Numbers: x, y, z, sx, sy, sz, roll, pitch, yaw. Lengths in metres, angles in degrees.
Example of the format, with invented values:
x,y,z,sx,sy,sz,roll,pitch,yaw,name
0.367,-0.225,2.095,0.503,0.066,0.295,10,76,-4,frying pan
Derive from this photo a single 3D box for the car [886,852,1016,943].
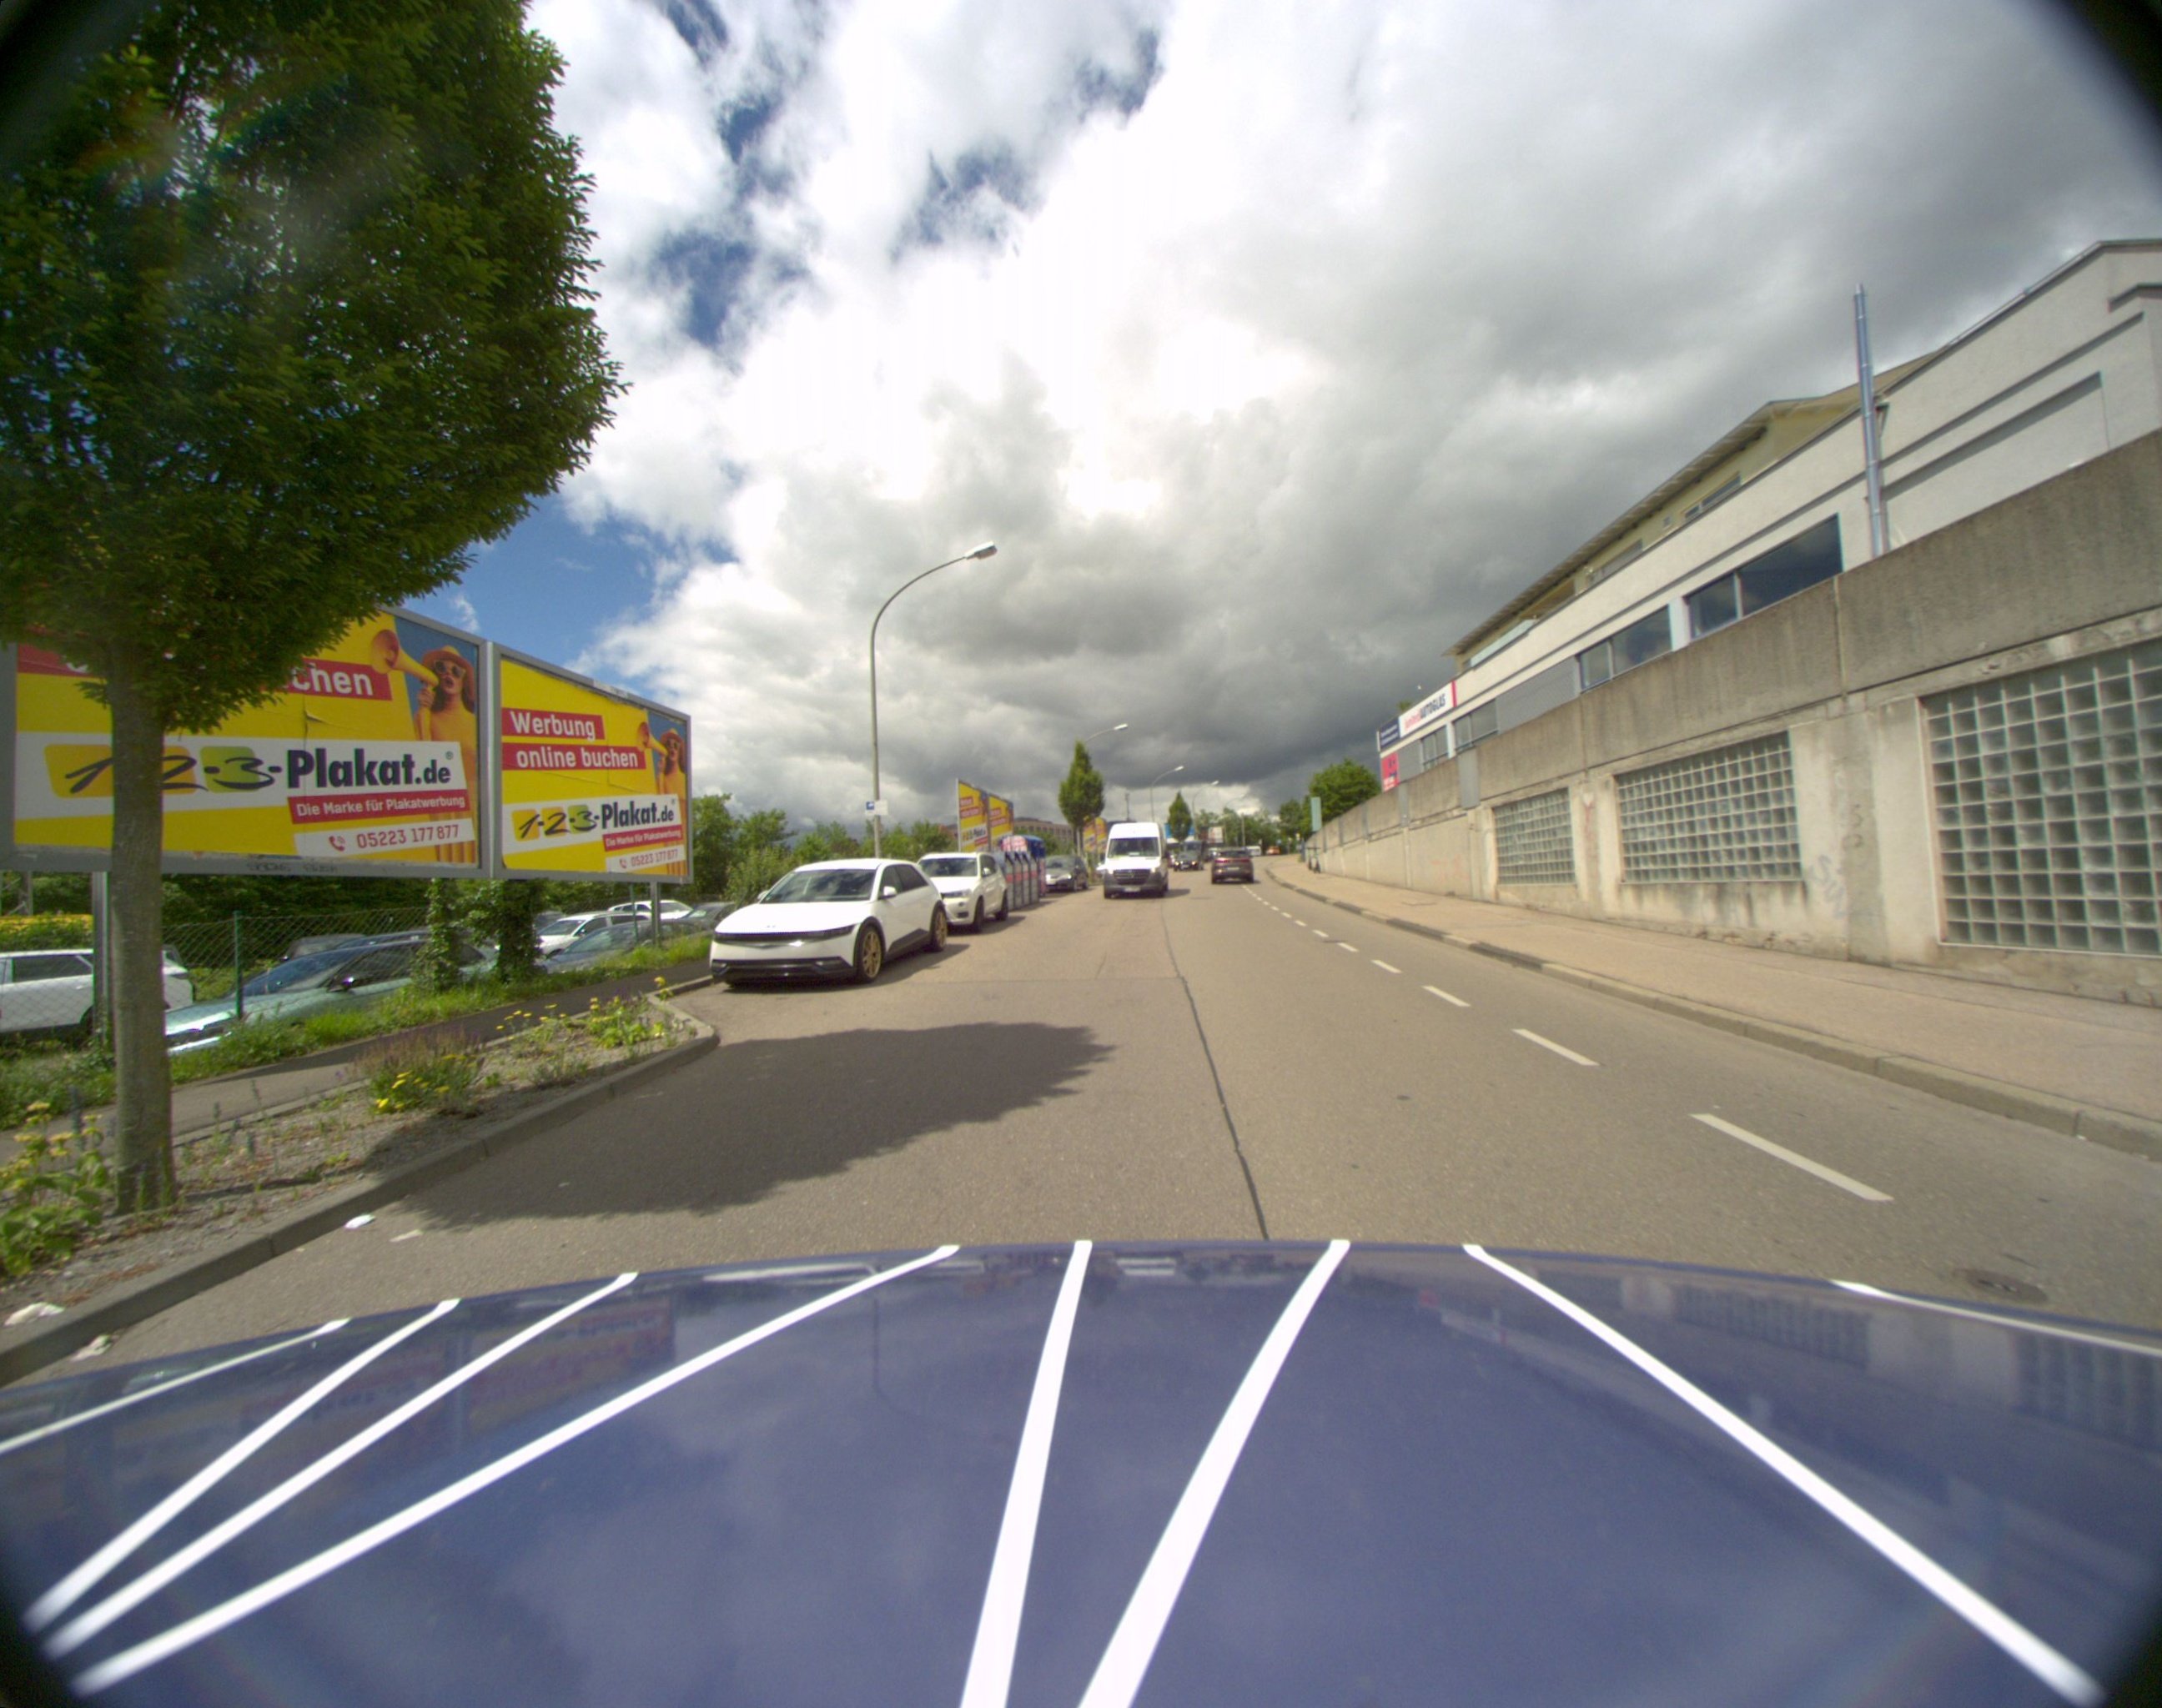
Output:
x,y,z,sx,sy,sz,roll,pitch,yaw,name
-2.694,0.840,16.809,1.689,1.650,4.481,-2,1,5,car

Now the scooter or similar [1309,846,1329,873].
x,y,z,sx,sy,sz,roll,pitch,yaw,name
11.733,0.280,37.554,0.520,1.268,1.383,-5,1,3,scooter or similar

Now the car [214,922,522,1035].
x,y,z,sx,sy,sz,roll,pitch,yaw,name
-15.075,2.525,16.460,1.814,1.612,4.469,-1,1,20,car

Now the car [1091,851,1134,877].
x,y,z,sx,sy,sz,roll,pitch,yaw,name
1.930,0.590,45.648,1.640,1.379,4.209,-3,0,15,car

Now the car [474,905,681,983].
x,y,z,sx,sy,sz,roll,pitch,yaw,name
-13.611,2.362,20.941,1.753,1.509,4.588,-1,1,19,car

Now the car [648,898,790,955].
x,y,z,sx,sy,sz,roll,pitch,yaw,name
-12.097,2.396,25.670,1.696,1.438,4.159,-3,0,23,car

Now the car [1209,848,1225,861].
x,y,z,sx,sy,sz,roll,pitch,yaw,name
16.603,0.012,92.739,1.400,1.424,3.449,-3,0,19,car

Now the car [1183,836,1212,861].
x,y,z,sx,sy,sz,roll,pitch,yaw,name
12.639,-0.628,81.903,2.057,2.579,5.741,-3,0,19,car

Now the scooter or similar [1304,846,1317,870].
x,y,z,sx,sy,sz,roll,pitch,yaw,name
12.470,0.206,41.275,0.558,1.268,1.306,-3,1,13,scooter or similar

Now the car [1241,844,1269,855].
x,y,z,sx,sy,sz,roll,pitch,yaw,name
34.870,-0.844,152.041,5.132,1.958,1.959,-3,1,-13,car

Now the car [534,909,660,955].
x,y,z,sx,sy,sz,roll,pitch,yaw,name
-16.628,2.646,26.088,3.990,1.322,1.758,-2,1,26,car

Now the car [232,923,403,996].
x,y,z,sx,sy,sz,roll,pitch,yaw,name
-19.056,2.563,18.948,4.033,1.382,1.747,-1,1,26,car

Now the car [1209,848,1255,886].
x,y,z,sx,sy,sz,roll,pitch,yaw,name
6.885,0.563,34.954,1.803,1.613,4.095,-2,0,7,car

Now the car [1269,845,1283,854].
x,y,z,sx,sy,sz,roll,pitch,yaw,name
31.942,-0.747,124.640,1.602,1.482,3.687,-3,1,23,car

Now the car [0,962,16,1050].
x,y,z,sx,sy,sz,roll,pitch,yaw,name
-20.837,2.736,13.575,4.176,1.382,1.793,-1,1,32,car

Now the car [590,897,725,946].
x,y,z,sx,sy,sz,roll,pitch,yaw,name
-15.709,2.489,28.179,4.450,1.545,2.003,-2,1,23,car

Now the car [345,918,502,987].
x,y,z,sx,sy,sz,roll,pitch,yaw,name
-18.350,2.675,21.211,3.990,1.602,1.799,-2,1,26,car

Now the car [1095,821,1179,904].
x,y,z,sx,sy,sz,roll,pitch,yaw,name
2.161,0.221,27.328,2.080,2.576,6.067,-3,1,12,car

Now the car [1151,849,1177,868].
x,y,z,sx,sy,sz,roll,pitch,yaw,name
7.148,0.372,65.004,1.595,1.473,3.504,-3,0,16,car

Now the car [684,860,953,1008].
x,y,z,sx,sy,sz,roll,pitch,yaw,name
-3.363,0.932,10.830,1.845,1.556,4.467,-1,1,6,car

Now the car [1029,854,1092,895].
x,y,z,sx,sy,sz,roll,pitch,yaw,name
-0.764,0.776,30.930,1.658,1.477,4.047,-1,1,12,car

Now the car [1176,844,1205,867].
x,y,z,sx,sy,sz,roll,pitch,yaw,name
7.909,0.067,54.520,1.583,1.497,3.961,-3,0,14,car

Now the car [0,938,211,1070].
x,y,z,sx,sy,sz,roll,pitch,yaw,name
-16.904,2.376,11.411,1.751,1.675,4.687,-1,0,23,car
